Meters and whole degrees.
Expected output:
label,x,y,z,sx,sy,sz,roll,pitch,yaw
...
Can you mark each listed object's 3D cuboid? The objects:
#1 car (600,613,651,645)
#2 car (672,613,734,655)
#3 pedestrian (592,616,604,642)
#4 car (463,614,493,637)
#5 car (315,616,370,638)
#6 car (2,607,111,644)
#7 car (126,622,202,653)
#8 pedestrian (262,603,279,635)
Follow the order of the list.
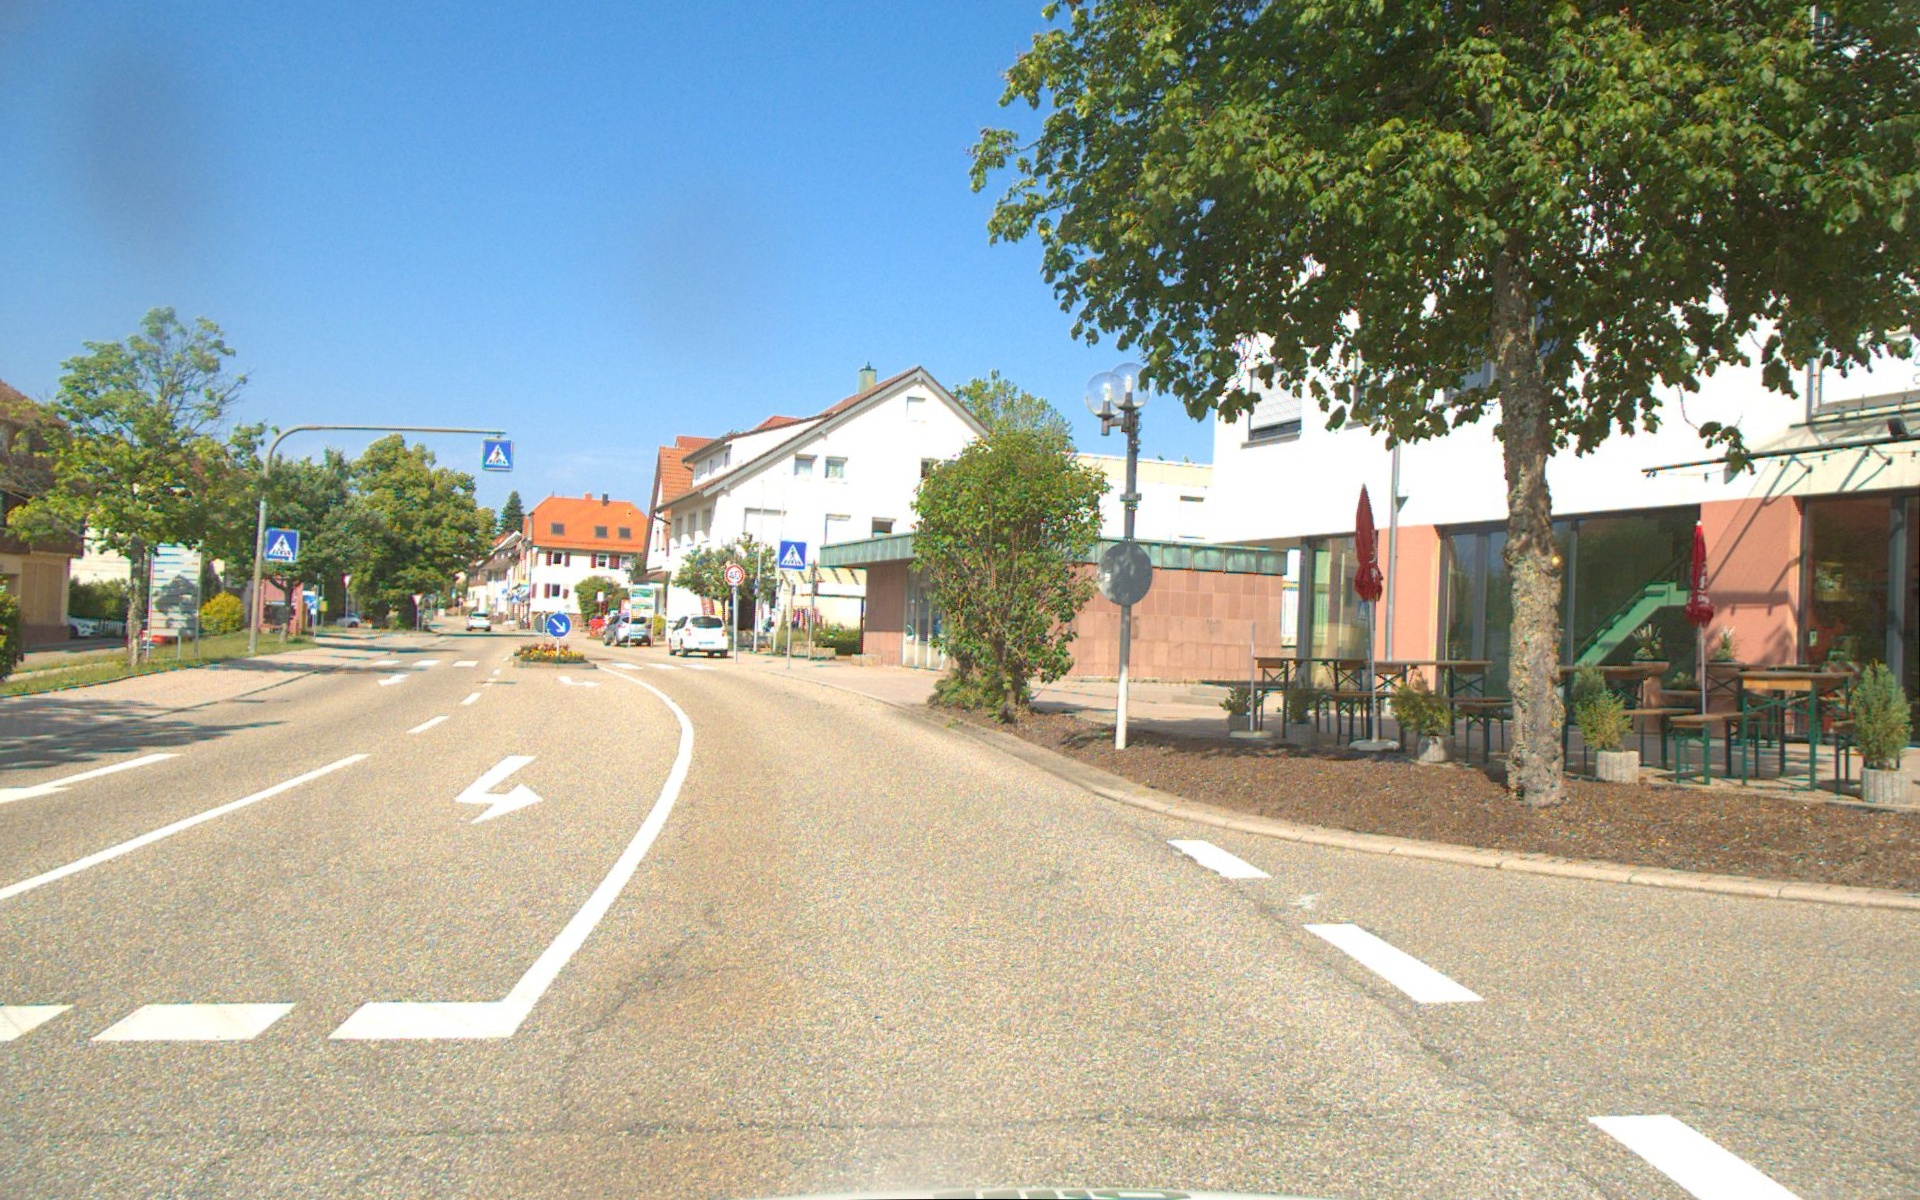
label,x,y,z,sx,sy,sz,roll,pitch,yaw
car,-15.320,1.306,75.702,1.612,1.445,3.908,0,-1,-22
car,-9.102,1.183,58.347,1.732,1.448,3.617,0,-1,-16
pedestrian,-25.411,2.019,116.087,0.786,1.816,0.976,1,-1,-14
car,-43.909,2.335,150.721,2.457,2.049,4.281,0,-1,-19
car,-47.782,2.089,128.035,3.688,1.480,1.814,0,-6,-7
car,-44.371,1.261,81.294,4.222,1.538,1.796,3,-3,-9
car,-35.780,1.669,74.451,1.687,1.320,3.996,0,-1,-4
pedestrian,-27.625,0.753,66.269,0.620,1.275,0.421,0,-1,-22
